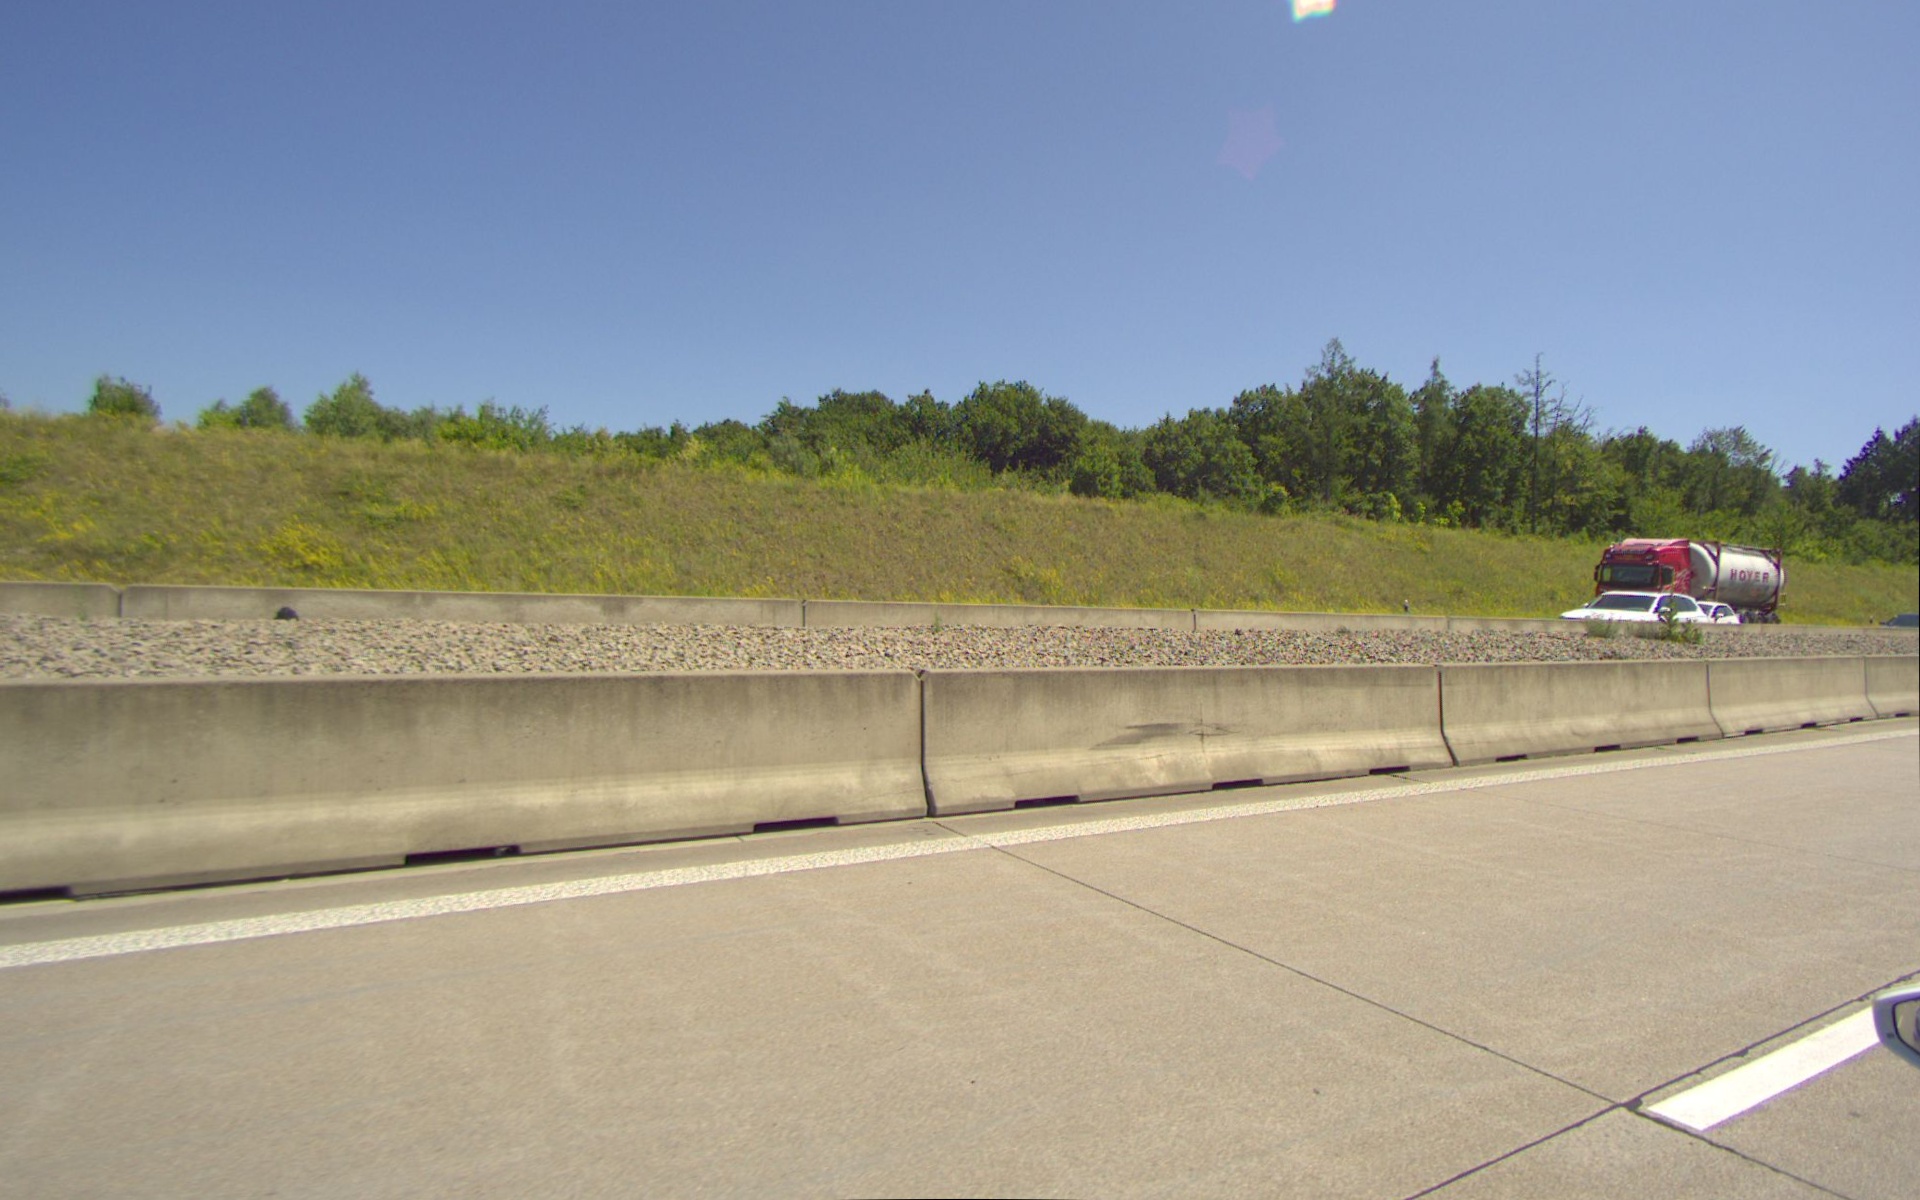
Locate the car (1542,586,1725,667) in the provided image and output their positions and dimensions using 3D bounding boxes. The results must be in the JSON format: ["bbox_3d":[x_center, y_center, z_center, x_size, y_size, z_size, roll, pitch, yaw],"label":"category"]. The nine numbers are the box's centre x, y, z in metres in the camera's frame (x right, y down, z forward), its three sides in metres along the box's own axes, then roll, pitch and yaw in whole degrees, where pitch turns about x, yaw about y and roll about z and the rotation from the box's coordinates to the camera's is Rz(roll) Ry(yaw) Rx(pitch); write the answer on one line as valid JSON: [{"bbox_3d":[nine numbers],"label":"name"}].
[{"bbox_3d":[17.547,0.682,26.125,4.910,1.898,1.984,2,1,-30],"label":"car"}]

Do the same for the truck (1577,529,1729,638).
[{"bbox_3d":[29.263,-0.642,42.373,5.912,4.224,2.919,2,1,-30],"label":"truck"}]

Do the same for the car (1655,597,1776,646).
[{"bbox_3d":[27.163,0.774,36.091,4.131,1.604,1.984,2,1,-30],"label":"car"}]

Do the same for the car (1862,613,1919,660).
[{"bbox_3d":[35.685,1.378,37.285,4.411,1.604,1.984,2,1,-30],"label":"car"}]

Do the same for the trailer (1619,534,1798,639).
[{"bbox_3d":[33.556,-0.512,44.916,9.226,4.224,2.919,2,1,-31],"label":"trailer"}]
